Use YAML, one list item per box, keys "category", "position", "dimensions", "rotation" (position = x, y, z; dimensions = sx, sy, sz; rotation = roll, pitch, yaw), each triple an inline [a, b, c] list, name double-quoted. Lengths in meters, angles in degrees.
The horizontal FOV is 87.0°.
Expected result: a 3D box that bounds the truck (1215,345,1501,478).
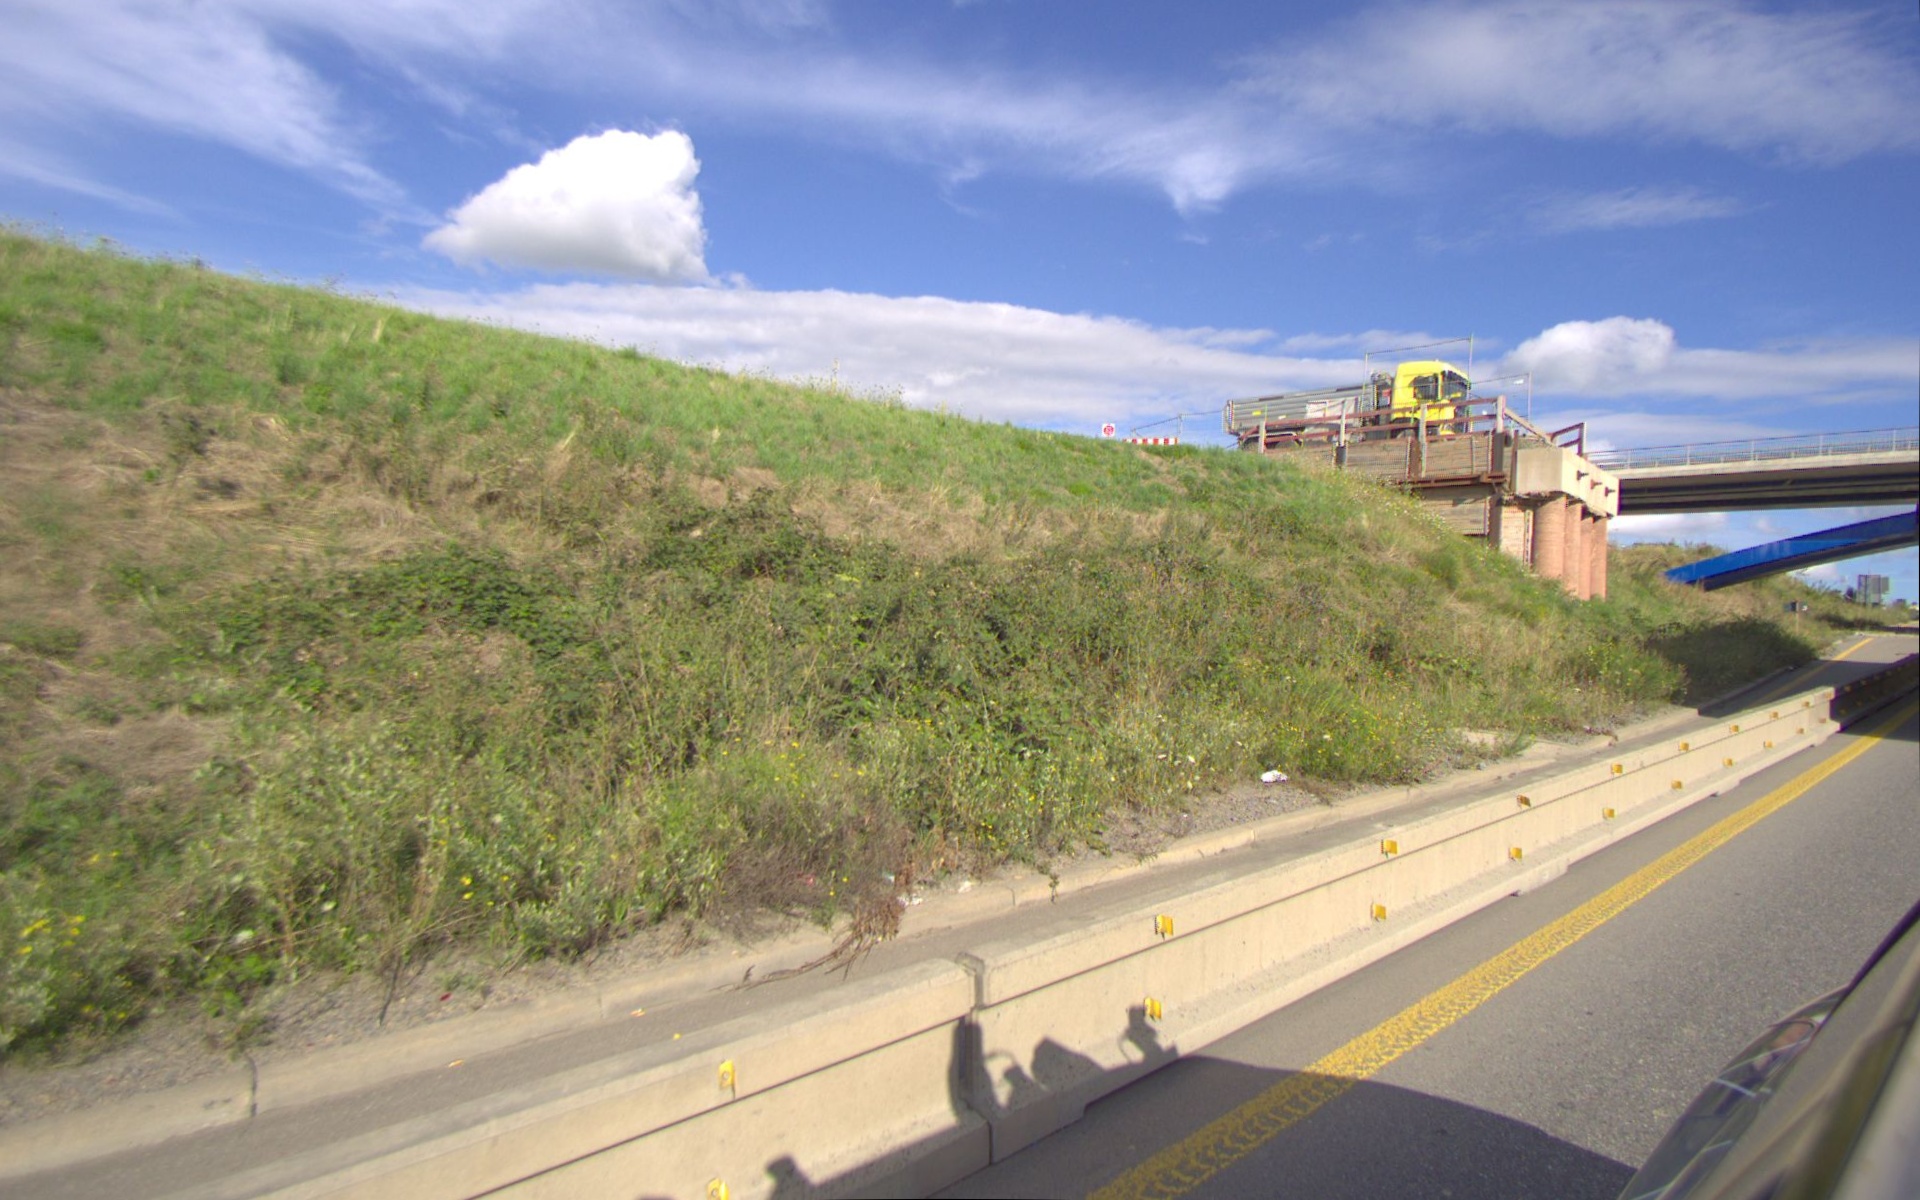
- category: "truck"
  position: [13.992, -6.501, 36.454]
  dimensions: [2.910, 3.268, 9.272]
  rotation: [0, 0, -43]
